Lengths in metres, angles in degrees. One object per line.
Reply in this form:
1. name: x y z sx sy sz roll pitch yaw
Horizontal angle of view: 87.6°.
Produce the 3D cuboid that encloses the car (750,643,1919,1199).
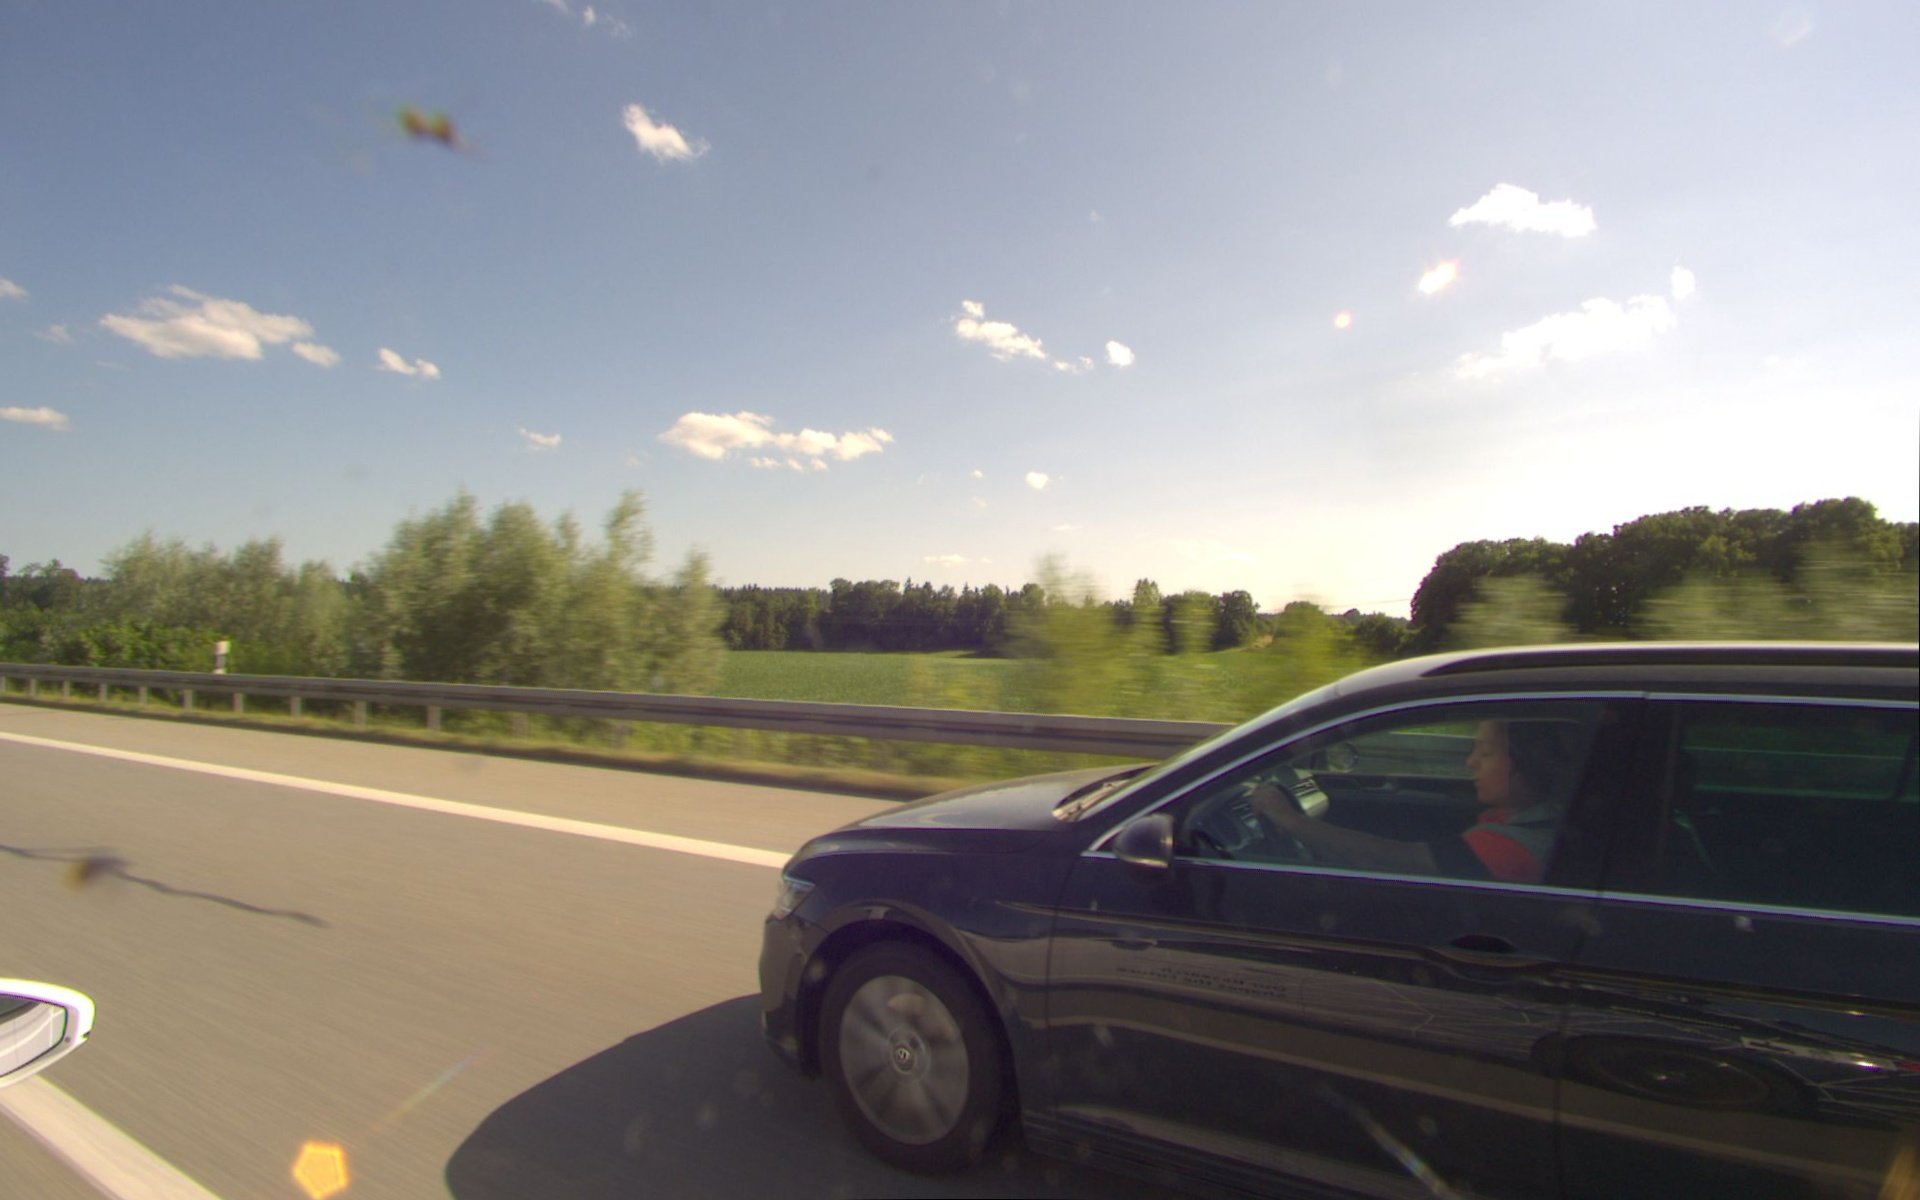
1. car: 1.679 0.828 2.515 4.350 1.417 1.716 -1 -2 32
